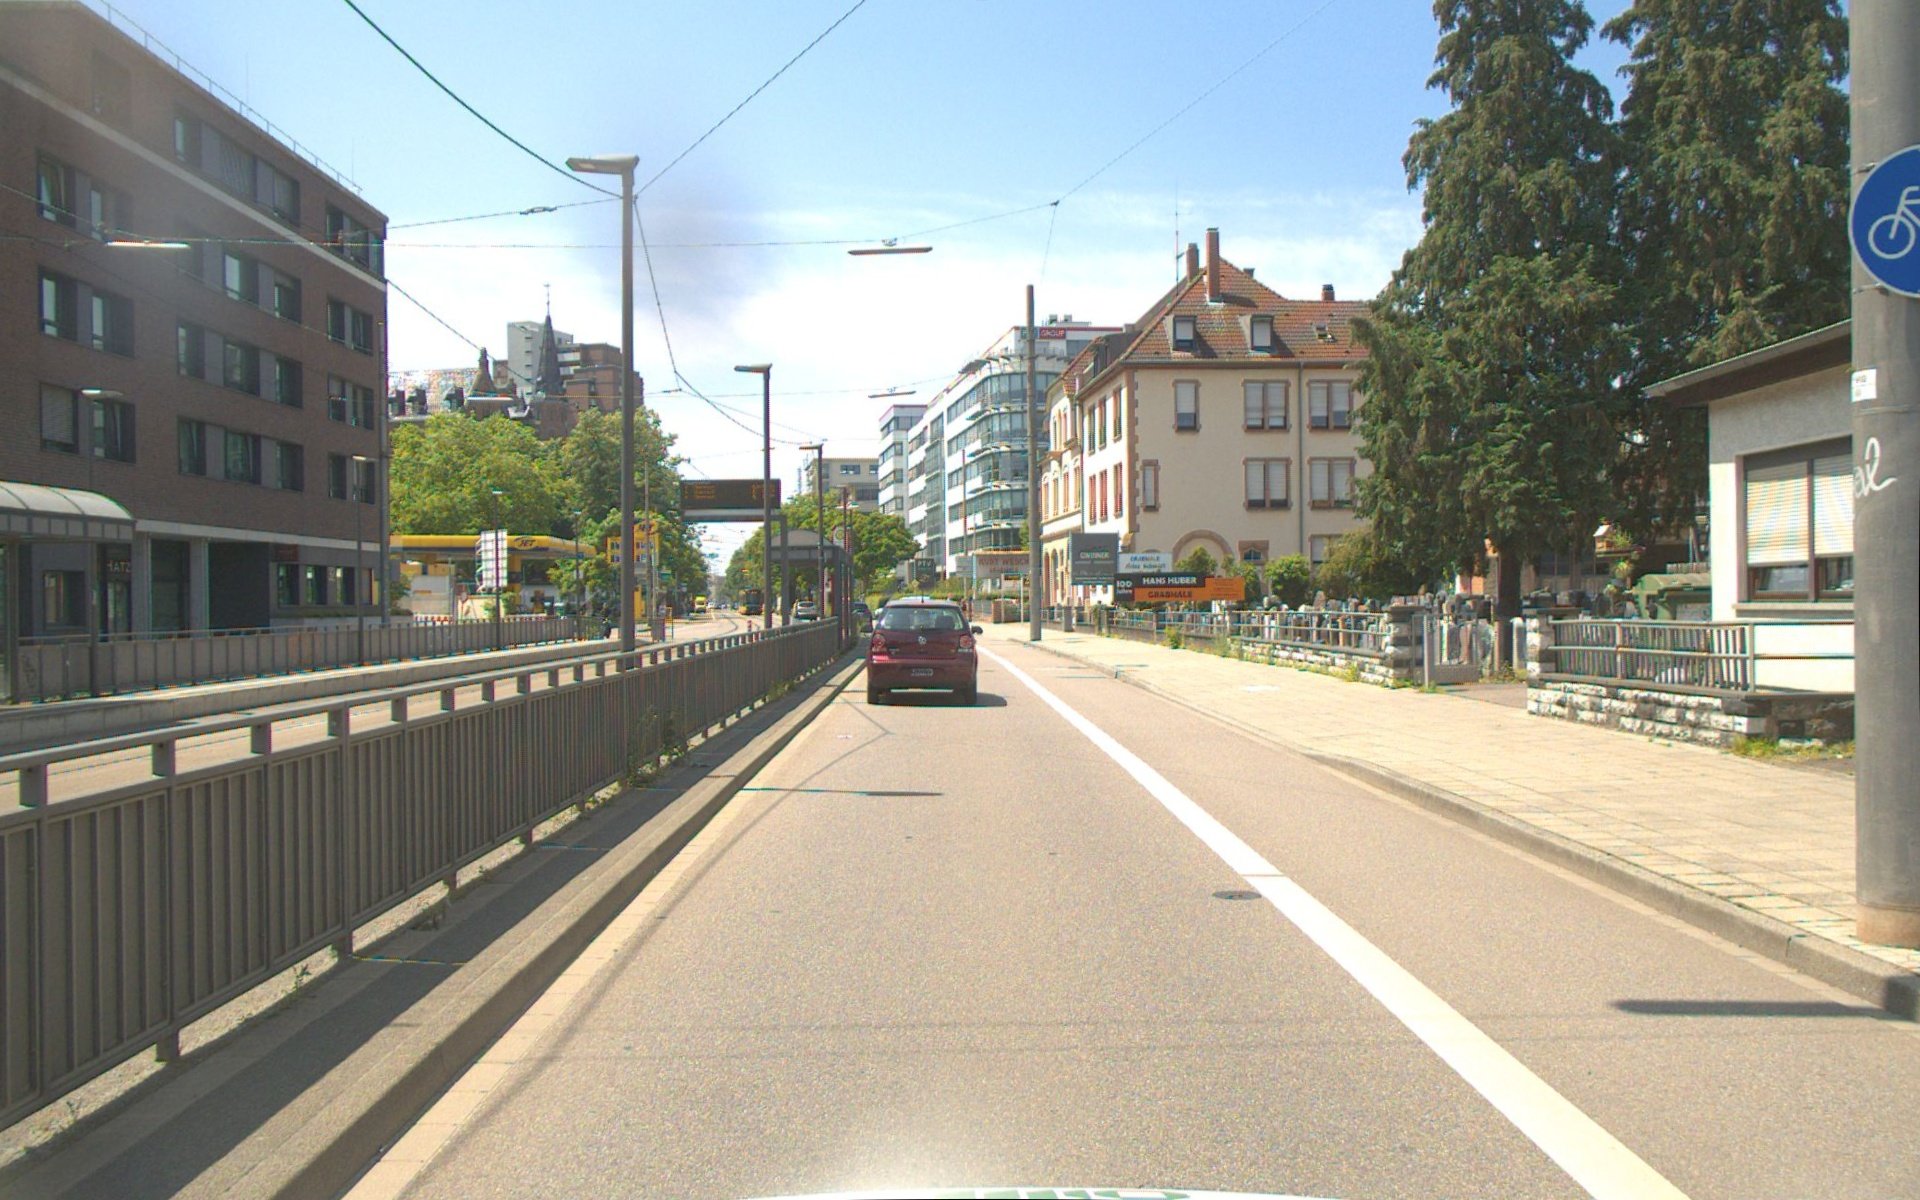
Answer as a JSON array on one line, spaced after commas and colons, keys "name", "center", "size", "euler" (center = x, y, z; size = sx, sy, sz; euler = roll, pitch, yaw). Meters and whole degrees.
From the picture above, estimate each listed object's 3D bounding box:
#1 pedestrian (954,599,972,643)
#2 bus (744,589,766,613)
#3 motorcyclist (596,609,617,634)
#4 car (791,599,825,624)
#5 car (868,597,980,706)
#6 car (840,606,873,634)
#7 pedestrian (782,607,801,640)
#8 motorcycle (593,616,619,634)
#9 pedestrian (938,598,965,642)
[{"name": "pedestrian", "center": [0.127, 0.905, 70.641], "size": [0.730, 1.868, 0.791], "euler": [-1, 0, -4]}, {"name": "bus", "center": [-27.209, 0.182, 219.244], "size": [2.109, 3.055, 6.548], "euler": [-1, -1, -14]}, {"name": "motorcyclist", "center": [-17.055, 1.048, 79.799], "size": [0.832, 1.159, 0.634], "euler": [-1, 0, 0]}, {"name": "car", "center": [-12.157, 0.914, 131.920], "size": [1.961, 1.881, 3.982], "euler": [-1, 0, -16]}, {"name": "car", "center": [-0.531, 0.726, 24.489], "size": [1.529, 1.479, 3.060], "euler": [-1, -1, -2]}, {"name": "car", "center": [-6.412, 1.219, 102.958], "size": [1.954, 1.653, 4.628], "euler": [-1, 0, -3]}, {"name": "pedestrian", "center": [-10.743, 1.510, 105.716], "size": [1.087, 2.049, 1.038], "euler": [-1, -1, 0]}, {"name": "motorcycle", "center": [-17.058, 1.216, 79.742], "size": [0.854, 0.820, 1.909], "euler": [-1, 0, 0]}, {"name": "pedestrian", "center": [-0.373, 0.854, 71.967], "size": [1.146, 1.868, 0.791], "euler": [-1, 0, -4]}]
